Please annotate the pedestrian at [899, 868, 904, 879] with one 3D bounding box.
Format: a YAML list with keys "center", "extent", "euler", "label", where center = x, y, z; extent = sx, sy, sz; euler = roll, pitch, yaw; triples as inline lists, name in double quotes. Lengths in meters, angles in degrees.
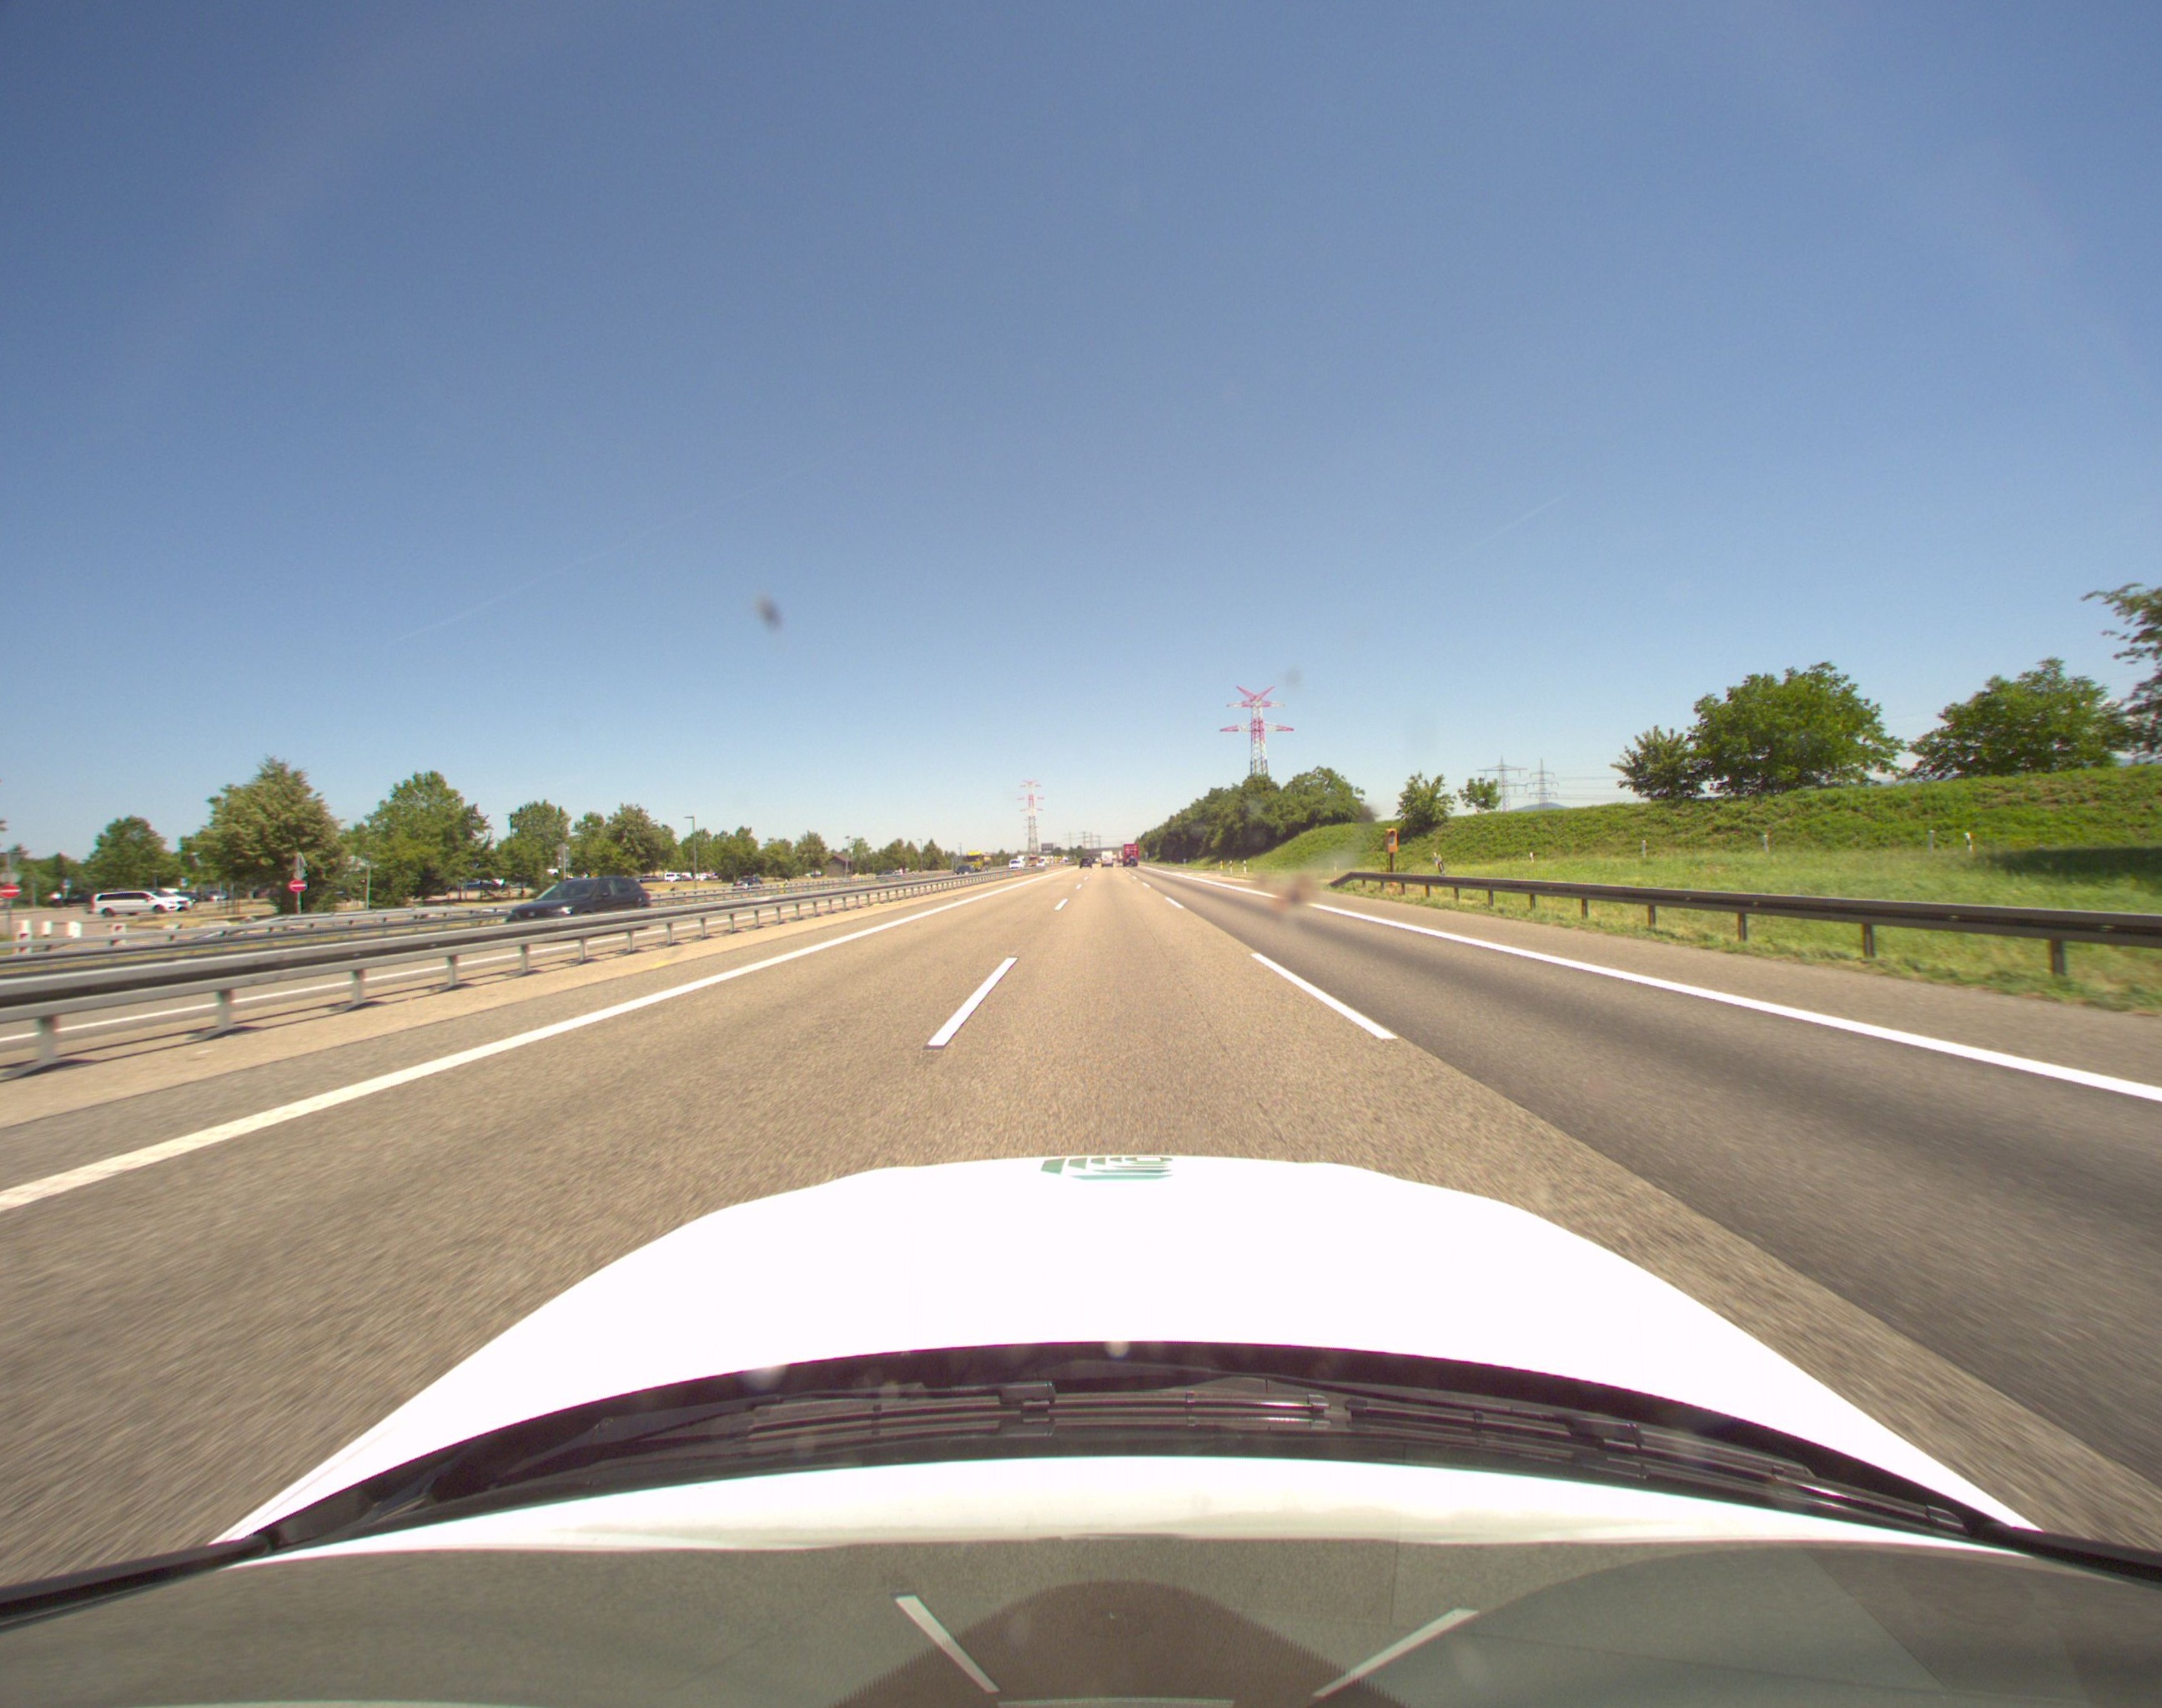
- center: [-25.212, 2.755, 114.549]
  extent: [0.502, 1.422, 0.495]
  euler: [-1, 0, -32]
  label: "pedestrian"

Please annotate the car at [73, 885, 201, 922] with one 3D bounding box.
- center: [-71.084, 3.670, 61.451]
  extent: [6.181, 2.499, 2.471]
  euler: [-1, 0, -8]
  label: "car"

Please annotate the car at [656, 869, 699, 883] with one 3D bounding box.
- center: [-68.144, 3.636, 137.584]
  extent: [6.232, 2.124, 2.451]
  euler: [-1, 0, -36]
  label: "car"

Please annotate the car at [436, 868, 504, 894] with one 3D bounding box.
- center: [-70.730, 3.052, 94.467]
  extent: [6.232, 2.749, 2.451]
  euler: [-1, 0, -36]
  label: "car"

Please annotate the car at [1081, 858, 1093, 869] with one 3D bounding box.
- center: [0.971, 1.527, 131.622]
  extent: [1.986, 1.750, 4.001]
  euler: [-1, 0, 1]
  label: "car"

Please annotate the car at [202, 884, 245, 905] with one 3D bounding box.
- center: [-92.303, 4.310, 87.655]
  extent: [5.176, 1.991, 2.494]
  euler: [0, 0, 35]
  label: "car"

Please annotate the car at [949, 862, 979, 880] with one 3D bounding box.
- center: [-11.442, 1.655, 80.004]
  extent: [2.045, 1.551, 4.891]
  euler: [-4, 0, 1]
  label: "car"

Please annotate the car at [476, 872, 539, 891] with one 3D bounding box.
- center: [-70.756, 3.367, 100.539]
  extent: [6.232, 2.124, 2.451]
  euler: [-1, 0, -36]
  label: "car"

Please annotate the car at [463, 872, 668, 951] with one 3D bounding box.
- center: [-13.097, 1.375, 21.192]
  extent: [2.045, 1.551, 4.891]
  euler: [-4, 0, 1]
  label: "car"

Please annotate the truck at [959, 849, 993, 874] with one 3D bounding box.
- center: [-16.867, 1.199, 132.197]
  extent: [3.159, 3.810, 13.536]
  euler: [-2, 0, 2]
  label: "truck"

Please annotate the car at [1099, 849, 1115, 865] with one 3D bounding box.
- center: [4.542, 0.472, 141.658]
  extent: [2.611, 2.759, 6.098]
  euler: [-1, 0, 1]
  label: "car"

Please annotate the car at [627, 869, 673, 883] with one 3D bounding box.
- center: [-68.953, 3.494, 130.399]
  extent: [6.232, 2.124, 2.451]
  euler: [-1, 0, -36]
  label: "car"

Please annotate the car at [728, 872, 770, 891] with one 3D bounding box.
- center: [-33.774, 2.788, 83.030]
  extent: [2.045, 1.551, 4.891]
  euler: [-4, 0, 1]
  label: "car"

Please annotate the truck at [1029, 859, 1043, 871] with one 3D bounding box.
- center: [-13.088, 3.034, 236.068]
  extent: [2.707, 3.259, 12.394]
  euler: [-2, -1, 2]
  label: "truck"

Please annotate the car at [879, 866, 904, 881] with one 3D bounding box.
- center: [-26.473, 2.731, 113.782]
  extent: [2.045, 1.842, 5.474]
  euler: [-2, 0, 1]
  label: "car"

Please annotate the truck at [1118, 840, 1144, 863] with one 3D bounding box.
- center: [9.182, -0.447, 151.081]
  extent: [4.315, 3.941, 16.084]
  euler: [-1, 0, 2]
  label: "truck"

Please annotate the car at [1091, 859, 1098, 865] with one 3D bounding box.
- center: [3.879, 2.228, 230.593]
  extent: [1.741, 1.634, 4.005]
  euler: [-1, 0, 1]
  label: "car"

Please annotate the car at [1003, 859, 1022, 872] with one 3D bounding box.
- center: [-9.966, 1.675, 119.246]
  extent: [2.045, 1.842, 5.944]
  euler: [-2, 0, 1]
  label: "car"

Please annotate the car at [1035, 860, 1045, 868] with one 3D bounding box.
- center: [-10.464, 2.545, 207.460]
  extent: [2.045, 1.842, 5.474]
  euler: [-2, 0, 1]
  label: "car"
